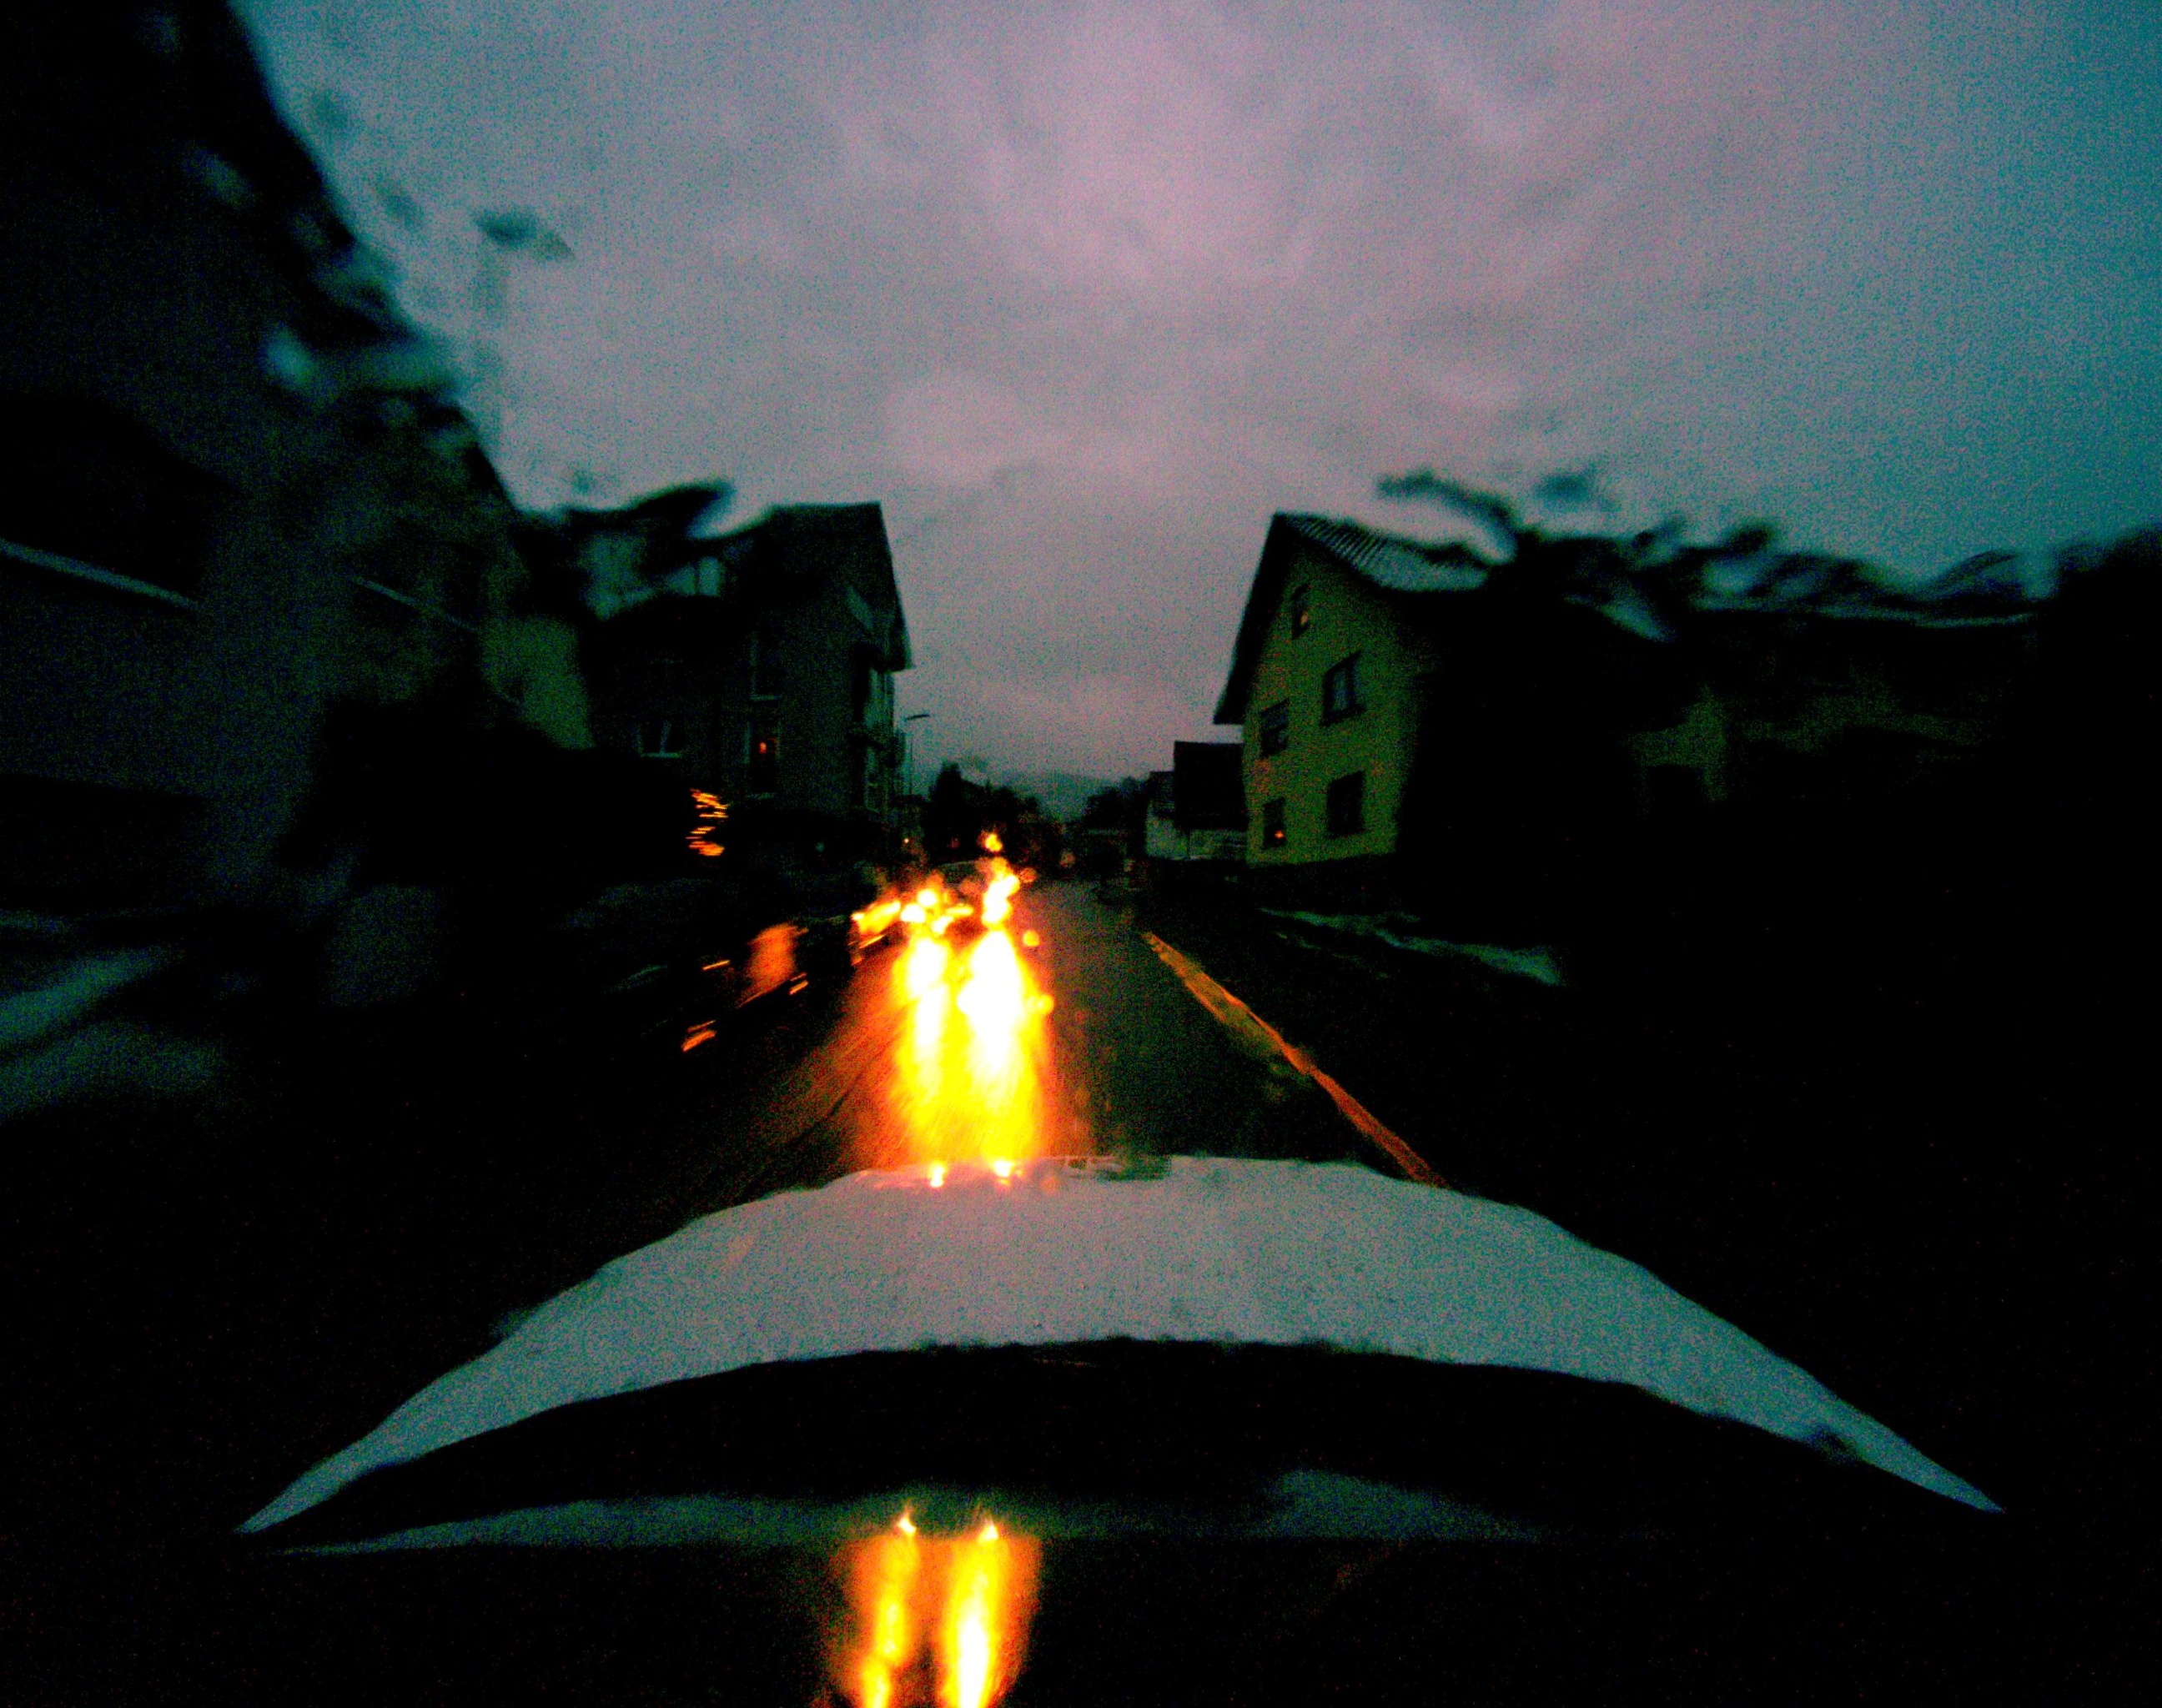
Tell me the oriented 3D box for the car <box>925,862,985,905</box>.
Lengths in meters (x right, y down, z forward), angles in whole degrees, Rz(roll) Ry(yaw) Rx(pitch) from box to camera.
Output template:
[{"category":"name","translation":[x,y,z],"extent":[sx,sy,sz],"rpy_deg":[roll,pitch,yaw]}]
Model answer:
[{"category":"car","translation":[-4.469,1.018,29.263],"extent":[1.660,1.418,3.687],"rpy_deg":[1,-1,-2]}]

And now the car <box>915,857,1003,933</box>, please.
[{"category":"car","translation":[-2.841,0.854,18.883],"extent":[1.773,1.495,4.366],"rpy_deg":[-1,0,-9]}]

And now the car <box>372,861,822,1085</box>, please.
[{"category":"car","translation":[-3.864,0.809,7.451],"extent":[1.729,1.436,4.032],"rpy_deg":[-1,0,-1]}]

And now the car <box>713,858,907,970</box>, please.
[{"category":"car","translation":[-4.003,0.793,12.836],"extent":[1.730,1.444,4.435],"rpy_deg":[0,0,-2]}]

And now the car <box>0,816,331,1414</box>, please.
[{"category":"car","translation":[-3.888,0.722,0.970],"extent":[1.912,1.624,4.420],"rpy_deg":[-1,0,-1]}]
